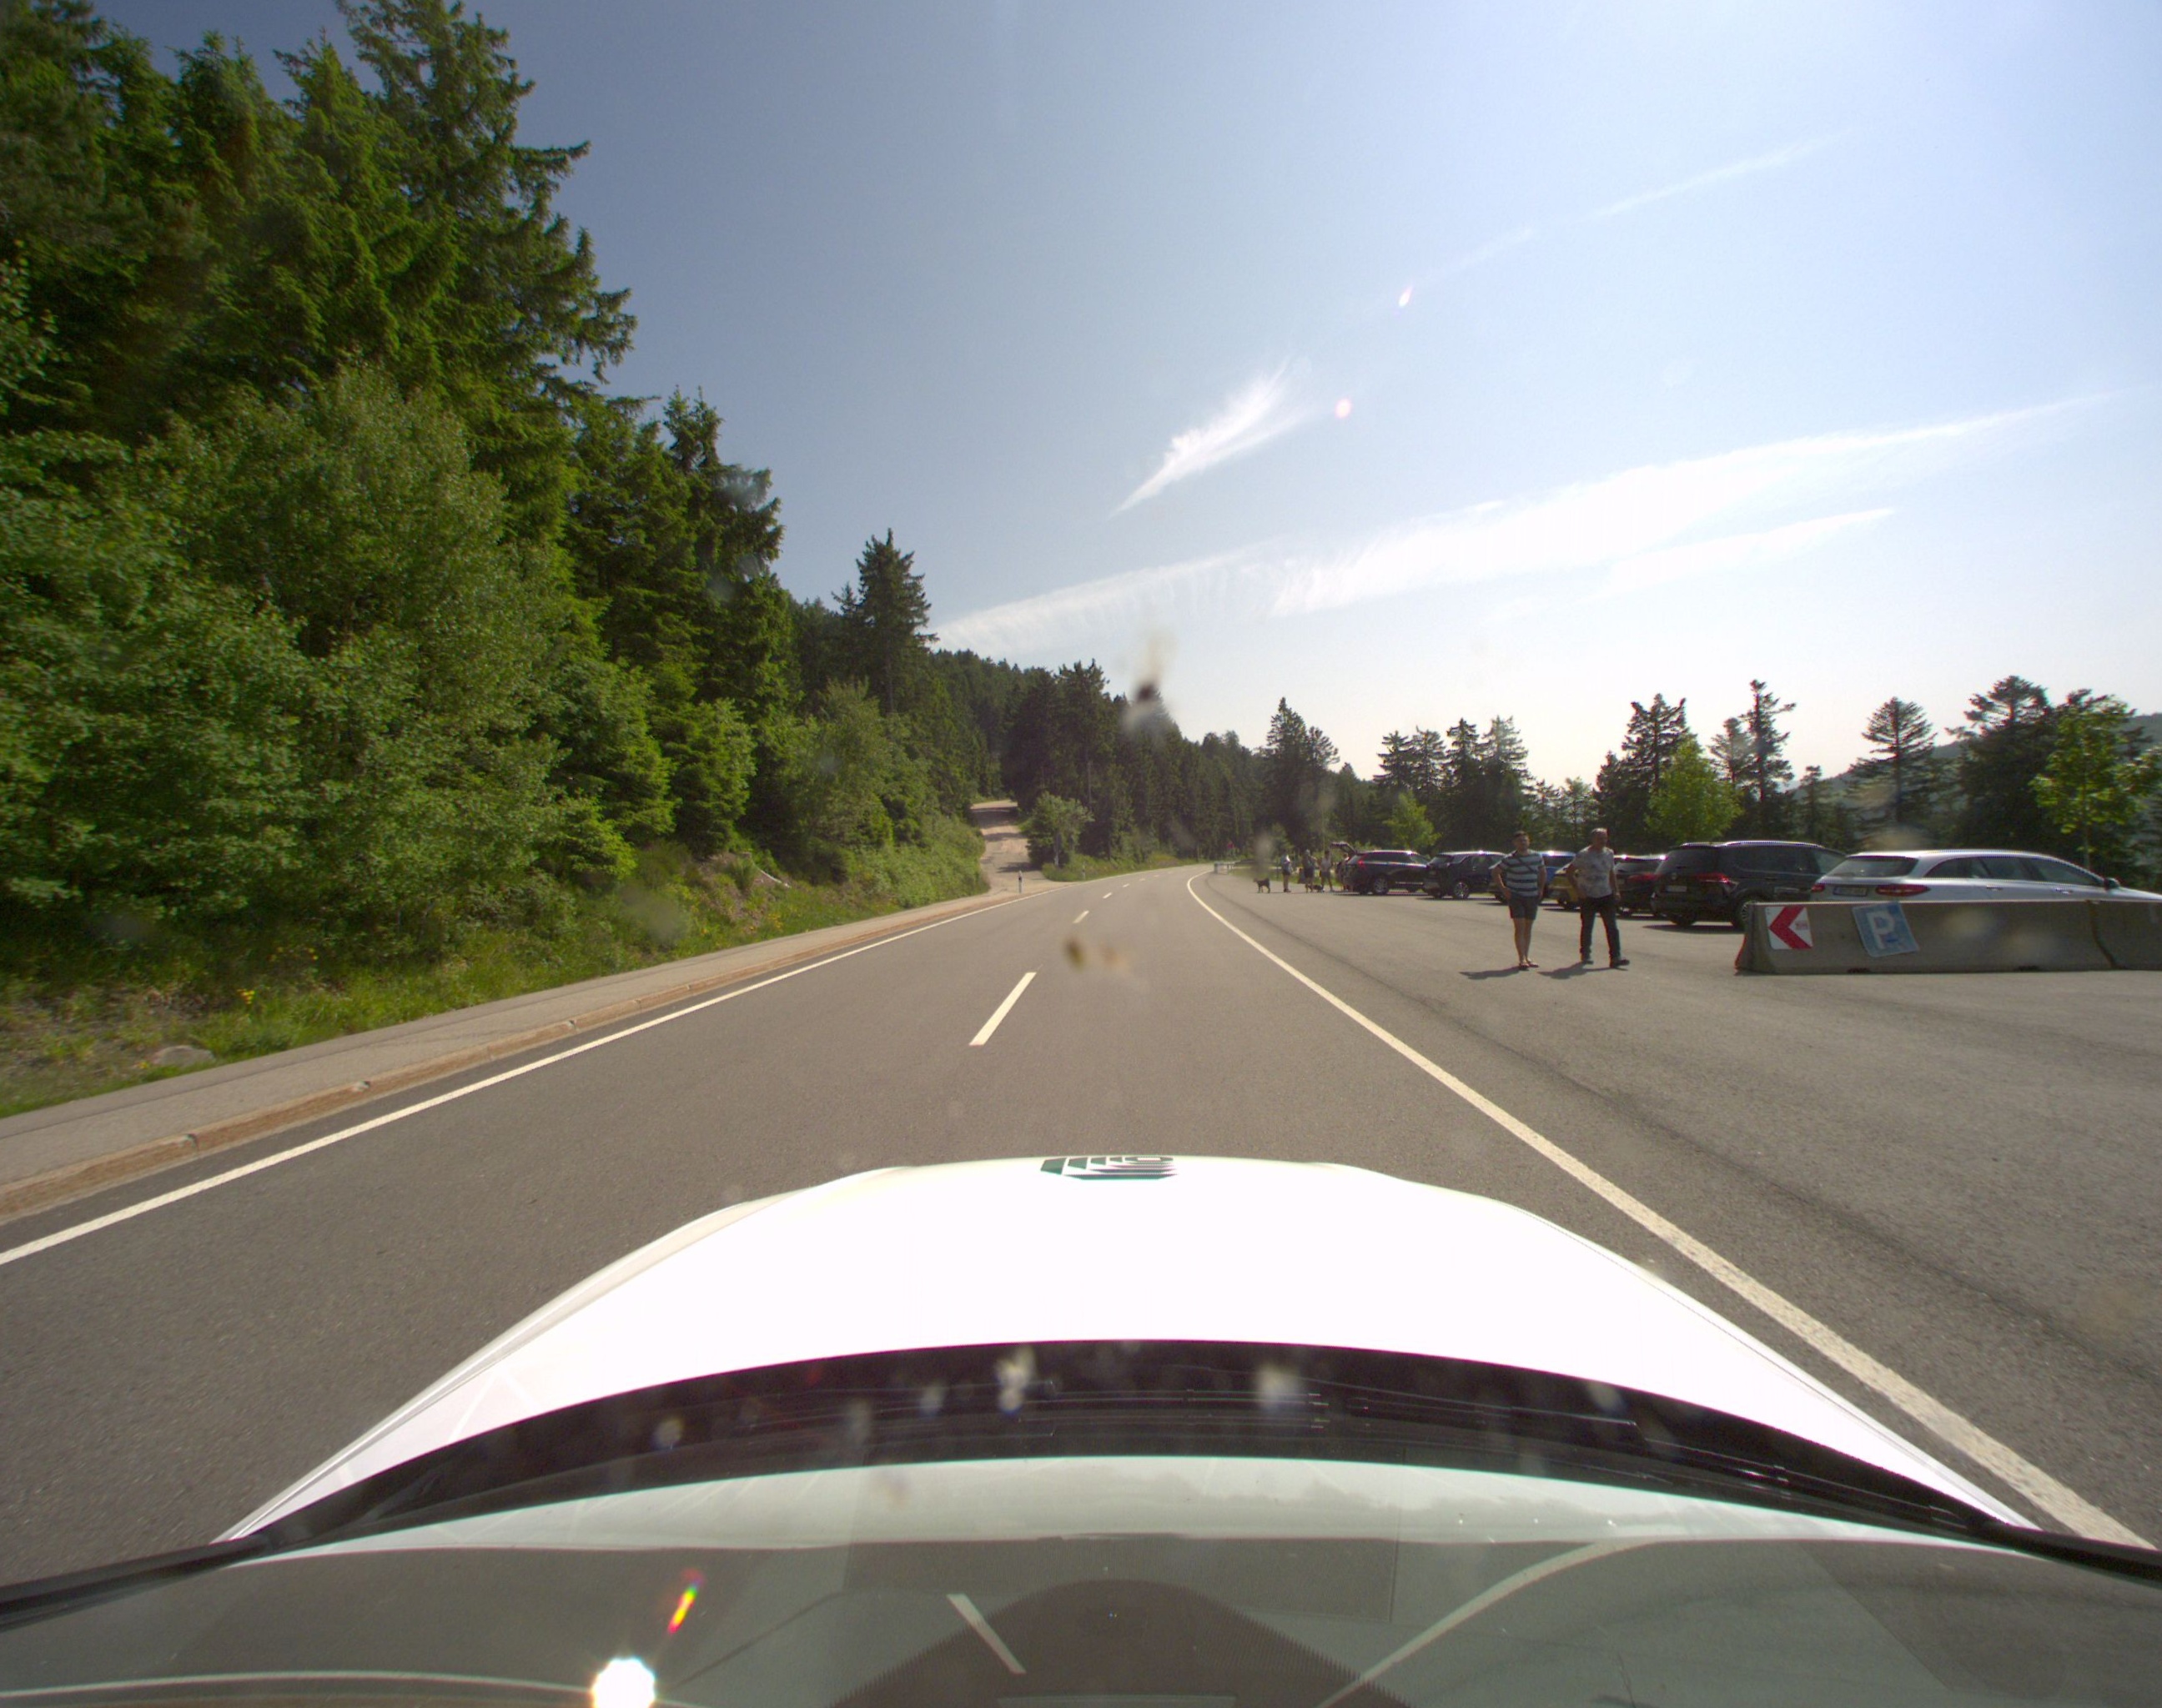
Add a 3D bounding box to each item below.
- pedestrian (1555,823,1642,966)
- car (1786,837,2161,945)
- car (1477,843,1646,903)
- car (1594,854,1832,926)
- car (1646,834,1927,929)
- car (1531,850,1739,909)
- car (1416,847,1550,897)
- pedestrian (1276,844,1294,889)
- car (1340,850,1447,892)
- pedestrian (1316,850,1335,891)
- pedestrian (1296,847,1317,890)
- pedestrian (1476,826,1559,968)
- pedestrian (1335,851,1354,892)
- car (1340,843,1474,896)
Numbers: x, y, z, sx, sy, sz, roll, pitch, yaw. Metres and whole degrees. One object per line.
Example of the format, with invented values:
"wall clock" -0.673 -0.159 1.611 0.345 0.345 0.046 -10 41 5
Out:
"pedestrian" 6.618 0.498 10.456 0.660 1.741 0.898 -2 0 15
"car" 13.375 0.519 12.304 3.975 1.476 1.773 1 0 -1
"car" 14.092 0.523 24.032 3.976 1.535 1.806 -1 3 -2
"car" 14.082 0.774 18.323 3.983 1.436 1.764 1 0 1
"car" 13.098 0.500 15.251 3.976 1.647 1.599 1 0 -2
"car" 14.025 0.631 20.813 3.972 1.353 1.988 -1 0 1
"car" 13.515 0.585 27.467 3.744 1.567 1.598 -1 0 -4
"pedestrian" 8.234 0.502 32.862 0.613 1.775 0.726 -1 0 9
"car" 12.883 0.678 33.649 3.807 1.661 1.651 0 0 -3
"pedestrian" 10.213 0.688 34.047 0.648 1.660 0.690 -2 1 15
"pedestrian" 8.981 0.564 32.468 0.711 1.692 0.620 -1 -1 9
"pedestrian" 5.647 0.537 10.572 0.748 1.760 0.778 -2 0 15
"pedestrian" 10.563 0.694 32.636 0.611 1.587 0.739 -2 1 21
"car" 12.121 0.546 30.472 4.251 1.793 1.892 -1 2 -1
